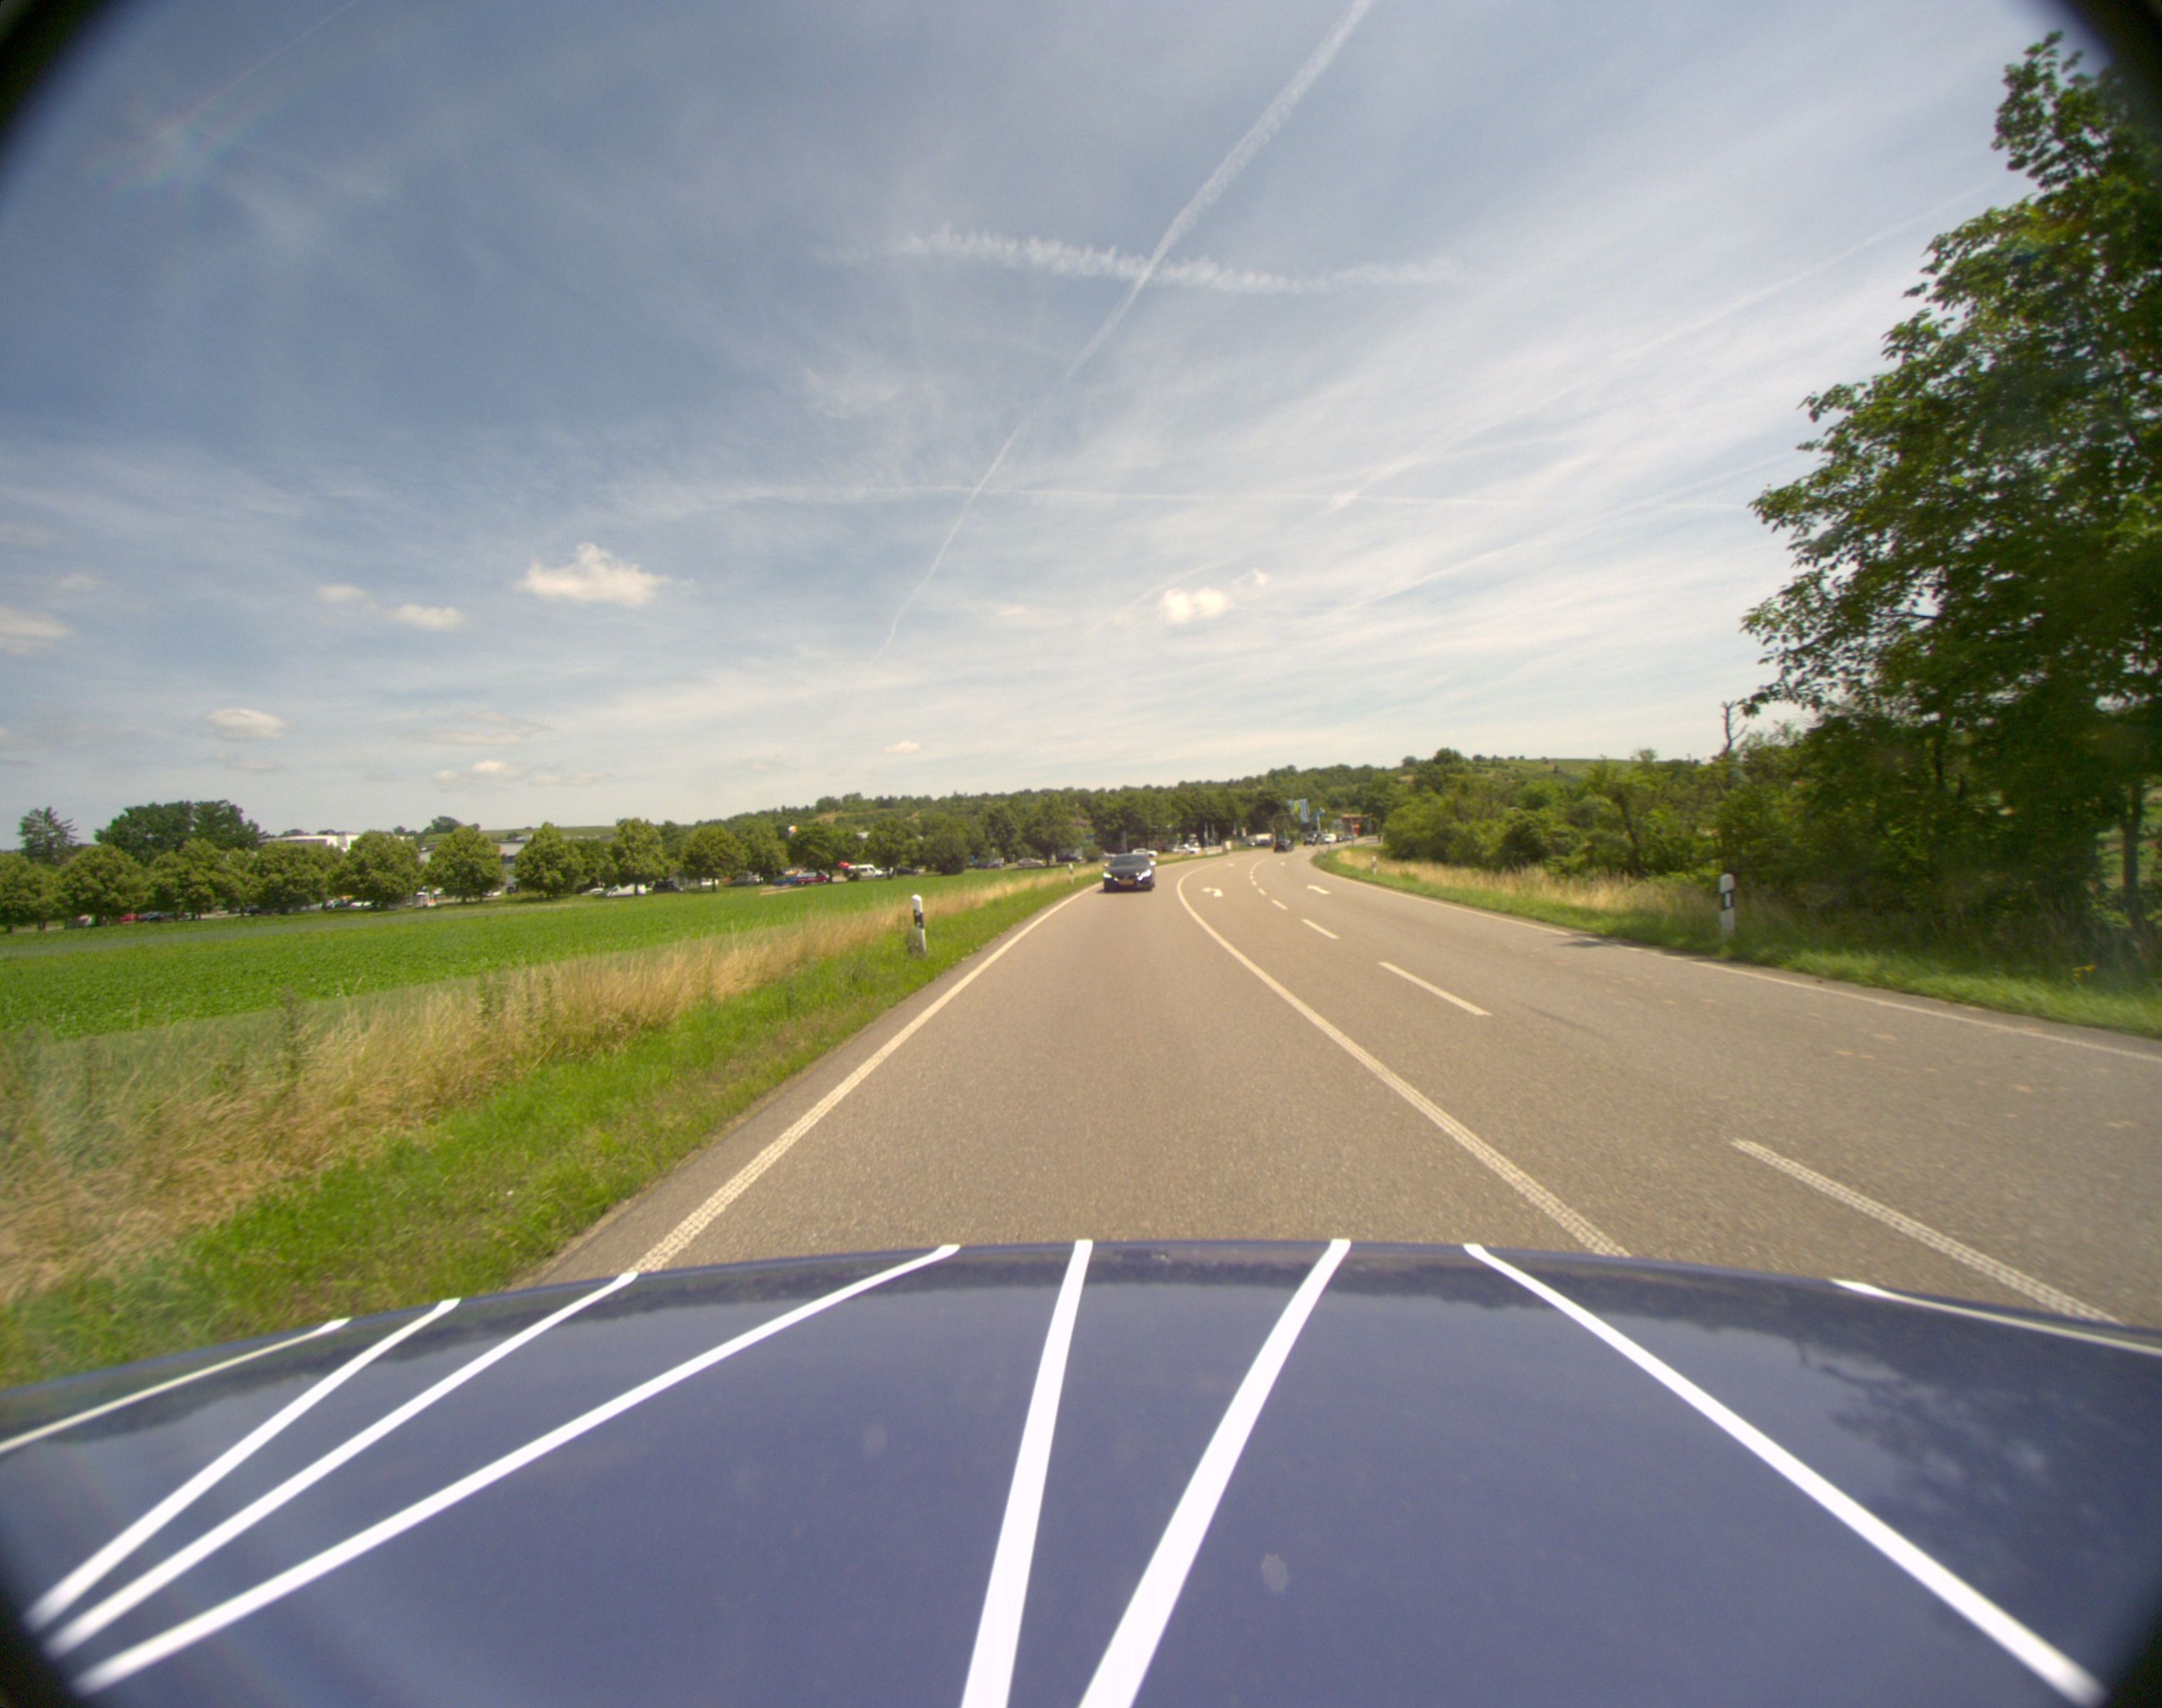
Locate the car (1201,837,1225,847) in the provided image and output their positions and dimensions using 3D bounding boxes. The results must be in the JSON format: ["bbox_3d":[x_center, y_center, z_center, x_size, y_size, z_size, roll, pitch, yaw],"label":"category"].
[{"bbox_3d":[28.235,-2.560,162.342,4.635,1.613,1.995,-5,3,-30],"label":"car"}]

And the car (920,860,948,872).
[{"bbox_3d":[-25.603,2.042,132.446,4.525,1.683,1.865,-4,2,-5],"label":"car"}]

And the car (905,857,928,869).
[{"bbox_3d":[-30.687,1.691,141.695,4.002,1.814,1.820,-5,2,-16],"label":"car"}]

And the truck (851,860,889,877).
[{"bbox_3d":[-34.878,2.350,125.599,5.638,2.353,2.051,-5,2,-9],"label":"truck"}]

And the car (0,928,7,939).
[{"bbox_3d":[-166.037,12.313,114.911,3.998,1.640,1.998,-5,2,-5],"label":"car"}]

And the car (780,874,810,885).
[{"bbox_3d":[-48.183,4.299,127.987,4.384,1.549,1.785,-3,0,1],"label":"car"}]

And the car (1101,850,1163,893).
[{"bbox_3d":[2.053,0.628,29.304,1.781,1.484,4.161,-2,1,12],"label":"car"}]

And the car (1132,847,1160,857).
[{"bbox_3d":[10.532,-0.313,122.305,4.097,1.411,1.802,-3,3,20],"label":"car"}]

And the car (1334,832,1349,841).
[{"bbox_3d":[50.463,-3.387,147.212,1.806,1.723,4.007,-3,1,33],"label":"car"}]

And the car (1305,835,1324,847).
[{"bbox_3d":[41.053,-2.237,133.672,1.805,1.723,4.006,-3,3,37],"label":"car"}]

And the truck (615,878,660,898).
[{"bbox_3d":[-73.970,5.618,126.878,5.942,2.723,2.070,-4,4,-7],"label":"truck"}]

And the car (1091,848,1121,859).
[{"bbox_3d":[4.051,-0.059,124.643,4.554,1.502,1.802,-4,2,12],"label":"car"}]

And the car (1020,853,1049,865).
[{"bbox_3d":[-7.731,0.776,126.378,4.558,1.502,1.800,-5,2,1],"label":"car"}]

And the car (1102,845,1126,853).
[{"bbox_3d":[6.493,-0.984,148.390,4.323,1.355,1.757,-5,2,-17],"label":"car"}]

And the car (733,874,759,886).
[{"bbox_3d":[-62.954,4.851,142.932,3.997,1.814,1.822,-4,2,-1],"label":"car"}]

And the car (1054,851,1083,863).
[{"bbox_3d":[-2.072,0.502,125.029,4.556,1.502,1.800,-4,4,6],"label":"car"}]

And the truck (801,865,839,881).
[{"bbox_3d":[-42.697,3.083,124.254,5.474,1.965,1.799,-5,2,-8],"label":"truck"}]

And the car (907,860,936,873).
[{"bbox_3d":[-26.541,2.049,126.797,4.289,1.688,1.999,-5,2,-2],"label":"car"}]

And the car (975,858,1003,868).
[{"bbox_3d":[-15.335,1.501,126.851,4.559,1.266,1.800,-5,2,-3],"label":"car"}]

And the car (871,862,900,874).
[{"bbox_3d":[-33.364,2.370,129.596,4.526,1.683,1.864,-4,2,-10],"label":"car"}]

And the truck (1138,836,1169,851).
[{"bbox_3d":[15.174,-2.154,158.797,6.157,2.603,2.257,-5,2,-32],"label":"truck"}]

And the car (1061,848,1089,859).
[{"bbox_3d":[-1.049,-0.090,131.617,4.521,1.683,1.867,-4,2,6],"label":"car"}]

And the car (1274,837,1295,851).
[{"bbox_3d":[26.548,-1.359,98.956,1.772,1.649,4.005,-2,2,26],"label":"car"}]

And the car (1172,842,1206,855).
[{"bbox_3d":[16.352,-0.786,115.323,4.629,1.598,2.001,-3,2,32],"label":"car"}]
